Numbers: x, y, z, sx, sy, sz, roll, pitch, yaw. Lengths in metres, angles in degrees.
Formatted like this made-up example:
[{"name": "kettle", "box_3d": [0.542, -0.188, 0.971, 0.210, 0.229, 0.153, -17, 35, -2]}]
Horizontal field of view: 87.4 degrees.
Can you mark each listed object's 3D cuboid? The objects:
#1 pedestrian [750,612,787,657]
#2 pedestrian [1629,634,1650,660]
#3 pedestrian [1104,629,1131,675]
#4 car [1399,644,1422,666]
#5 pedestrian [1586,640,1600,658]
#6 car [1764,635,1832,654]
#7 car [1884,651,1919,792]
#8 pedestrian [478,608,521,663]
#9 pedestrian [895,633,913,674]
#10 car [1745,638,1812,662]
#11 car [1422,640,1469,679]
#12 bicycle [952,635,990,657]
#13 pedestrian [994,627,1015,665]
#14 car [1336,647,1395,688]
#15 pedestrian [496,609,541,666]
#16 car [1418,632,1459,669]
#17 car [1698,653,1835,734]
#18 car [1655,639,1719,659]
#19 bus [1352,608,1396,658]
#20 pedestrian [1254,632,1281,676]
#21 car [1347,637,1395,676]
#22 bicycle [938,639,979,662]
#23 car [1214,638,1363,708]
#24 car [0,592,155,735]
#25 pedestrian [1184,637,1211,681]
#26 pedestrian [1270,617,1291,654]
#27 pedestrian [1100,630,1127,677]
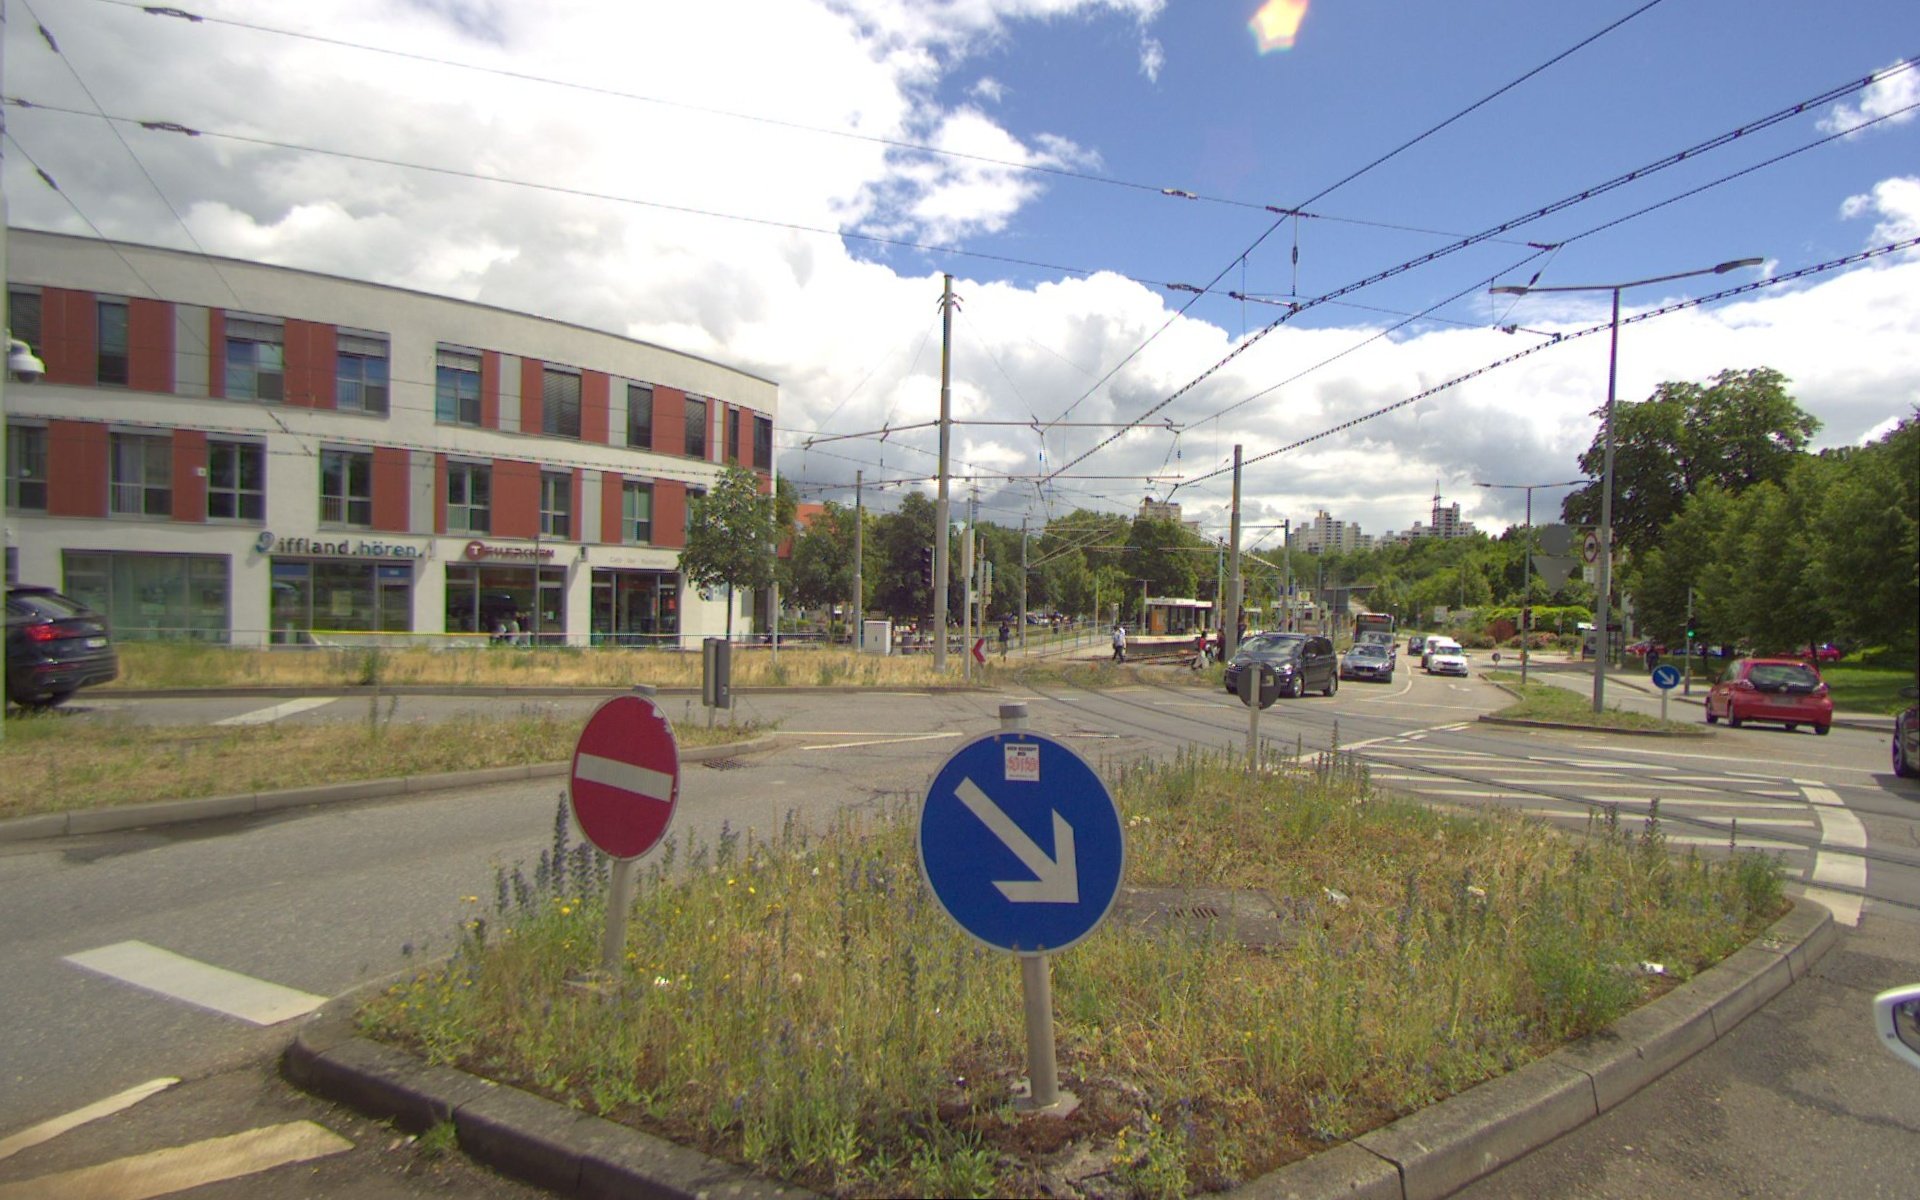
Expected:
[{"name": "pedestrian", "box_3d": [-8.844, 1.580, 46.374, 1.132, 2.040, 1.241, 2, -1, -43]}, {"name": "pedestrian", "box_3d": [38.665, 2.662, 57.152, 0.806, 1.443, 0.829, 1, -1, 23]}, {"name": "pedestrian", "box_3d": [6.519, 2.139, 41.640, 0.892, 1.846, 0.771, 0, -1, 27]}, {"name": "car", "box_3d": [37.216, 4.516, 83.016, 1.505, 1.571, 3.732, 3, 0, 22]}, {"name": "pedestrian", "box_3d": [46.289, 3.569, 73.471, 0.814, 1.275, 0.685, 1, 0, 26]}, {"name": "car", "box_3d": [71.056, 3.749, 85.248, 4.014, 1.523, 1.999, 0, 0, 21]}, {"name": "car", "box_3d": [11.044, 1.287, 10.386, 1.792, 1.439, 3.985, 0, -2, 37]}, {"name": "pedestrian", "box_3d": [-17.316, 1.327, 37.764, 1.132, 2.040, 1.241, 2, -1, -43]}, {"name": "pedestrian", "box_3d": [-2.453, 2.355, 44.266, 0.657, 1.757, 0.835, 1, -1, 3]}, {"name": "car", "box_3d": [63.680, 3.876, 78.219, 3.626, 1.666, 1.829, 1, 1, 21]}, {"name": "car", "box_3d": [23.737, 2.886, 49.215, 1.671, 1.671, 4.078, 2, 0, 21]}, {"name": "bicycle", "box_3d": [0.531, 2.299, 50.245, 1.875, 1.043, 0.691, 0, -1, 38]}, {"name": "pedestrian", "box_3d": [1.939, 2.013, 43.878, 0.818, 1.625, 0.671, 1, -1, 11]}, {"name": "car", "box_3d": [15.641, 2.569, 38.937, 1.767, 1.428, 5.054, 1, -2, 19]}, {"name": "pedestrian", "box_3d": [-16.201, 1.373, 36.843, 1.132, 2.040, 1.241, 2, -1, -43]}, {"name": "car", "box_3d": [27.733, 2.895, 58.317, 1.733, 1.685, 4.504, 0, 3, 21]}, {"name": "car", "box_3d": [17.175, 1.933, 21.563, 1.740, 1.451, 3.473, 0, -1, 29]}, {"name": "car", "box_3d": [58.125, 3.879, 80.348, 3.731, 1.476, 1.896, -1, 0, 20]}, {"name": "bus", "box_3d": [29.619, 2.223, 71.729, 2.682, 3.151, 9.698, 1, 1, 23]}, {"name": "pedestrian", "box_3d": [11.812, 2.061, 38.611, 0.848, 1.658, 0.919, 0, -2, 27]}, {"name": "car", "box_3d": [21.533, 2.946, 52.763, 1.960, 1.846, 5.074, 2, -2, 19]}, {"name": "bicycle", "box_3d": [-0.078, 2.460, 49.146, 1.869, 1.077, 0.693, 1, -1, 25]}, {"name": "car", "box_3d": [8.446, 1.822, 25.646, 4.267, 1.601, 1.788, 3, -2, -43]}, {"name": "car", "box_3d": [-12.361, 0.693, 11.540, 4.421, 1.590, 1.945, 1, -1, -21]}, {"name": "pedestrian", "box_3d": [9.001, 2.228, 38.001, 0.786, 1.560, 0.835, 5, 0, 21]}, {"name": "pedestrian", "box_3d": [18.375, 2.026, 57.542, 0.956, 2.040, 1.028, 1, -1, 26]}, {"name": "pedestrian", "box_3d": [6.210, 2.149, 40.612, 0.892, 1.846, 0.771, 0, -1, 27]}]
